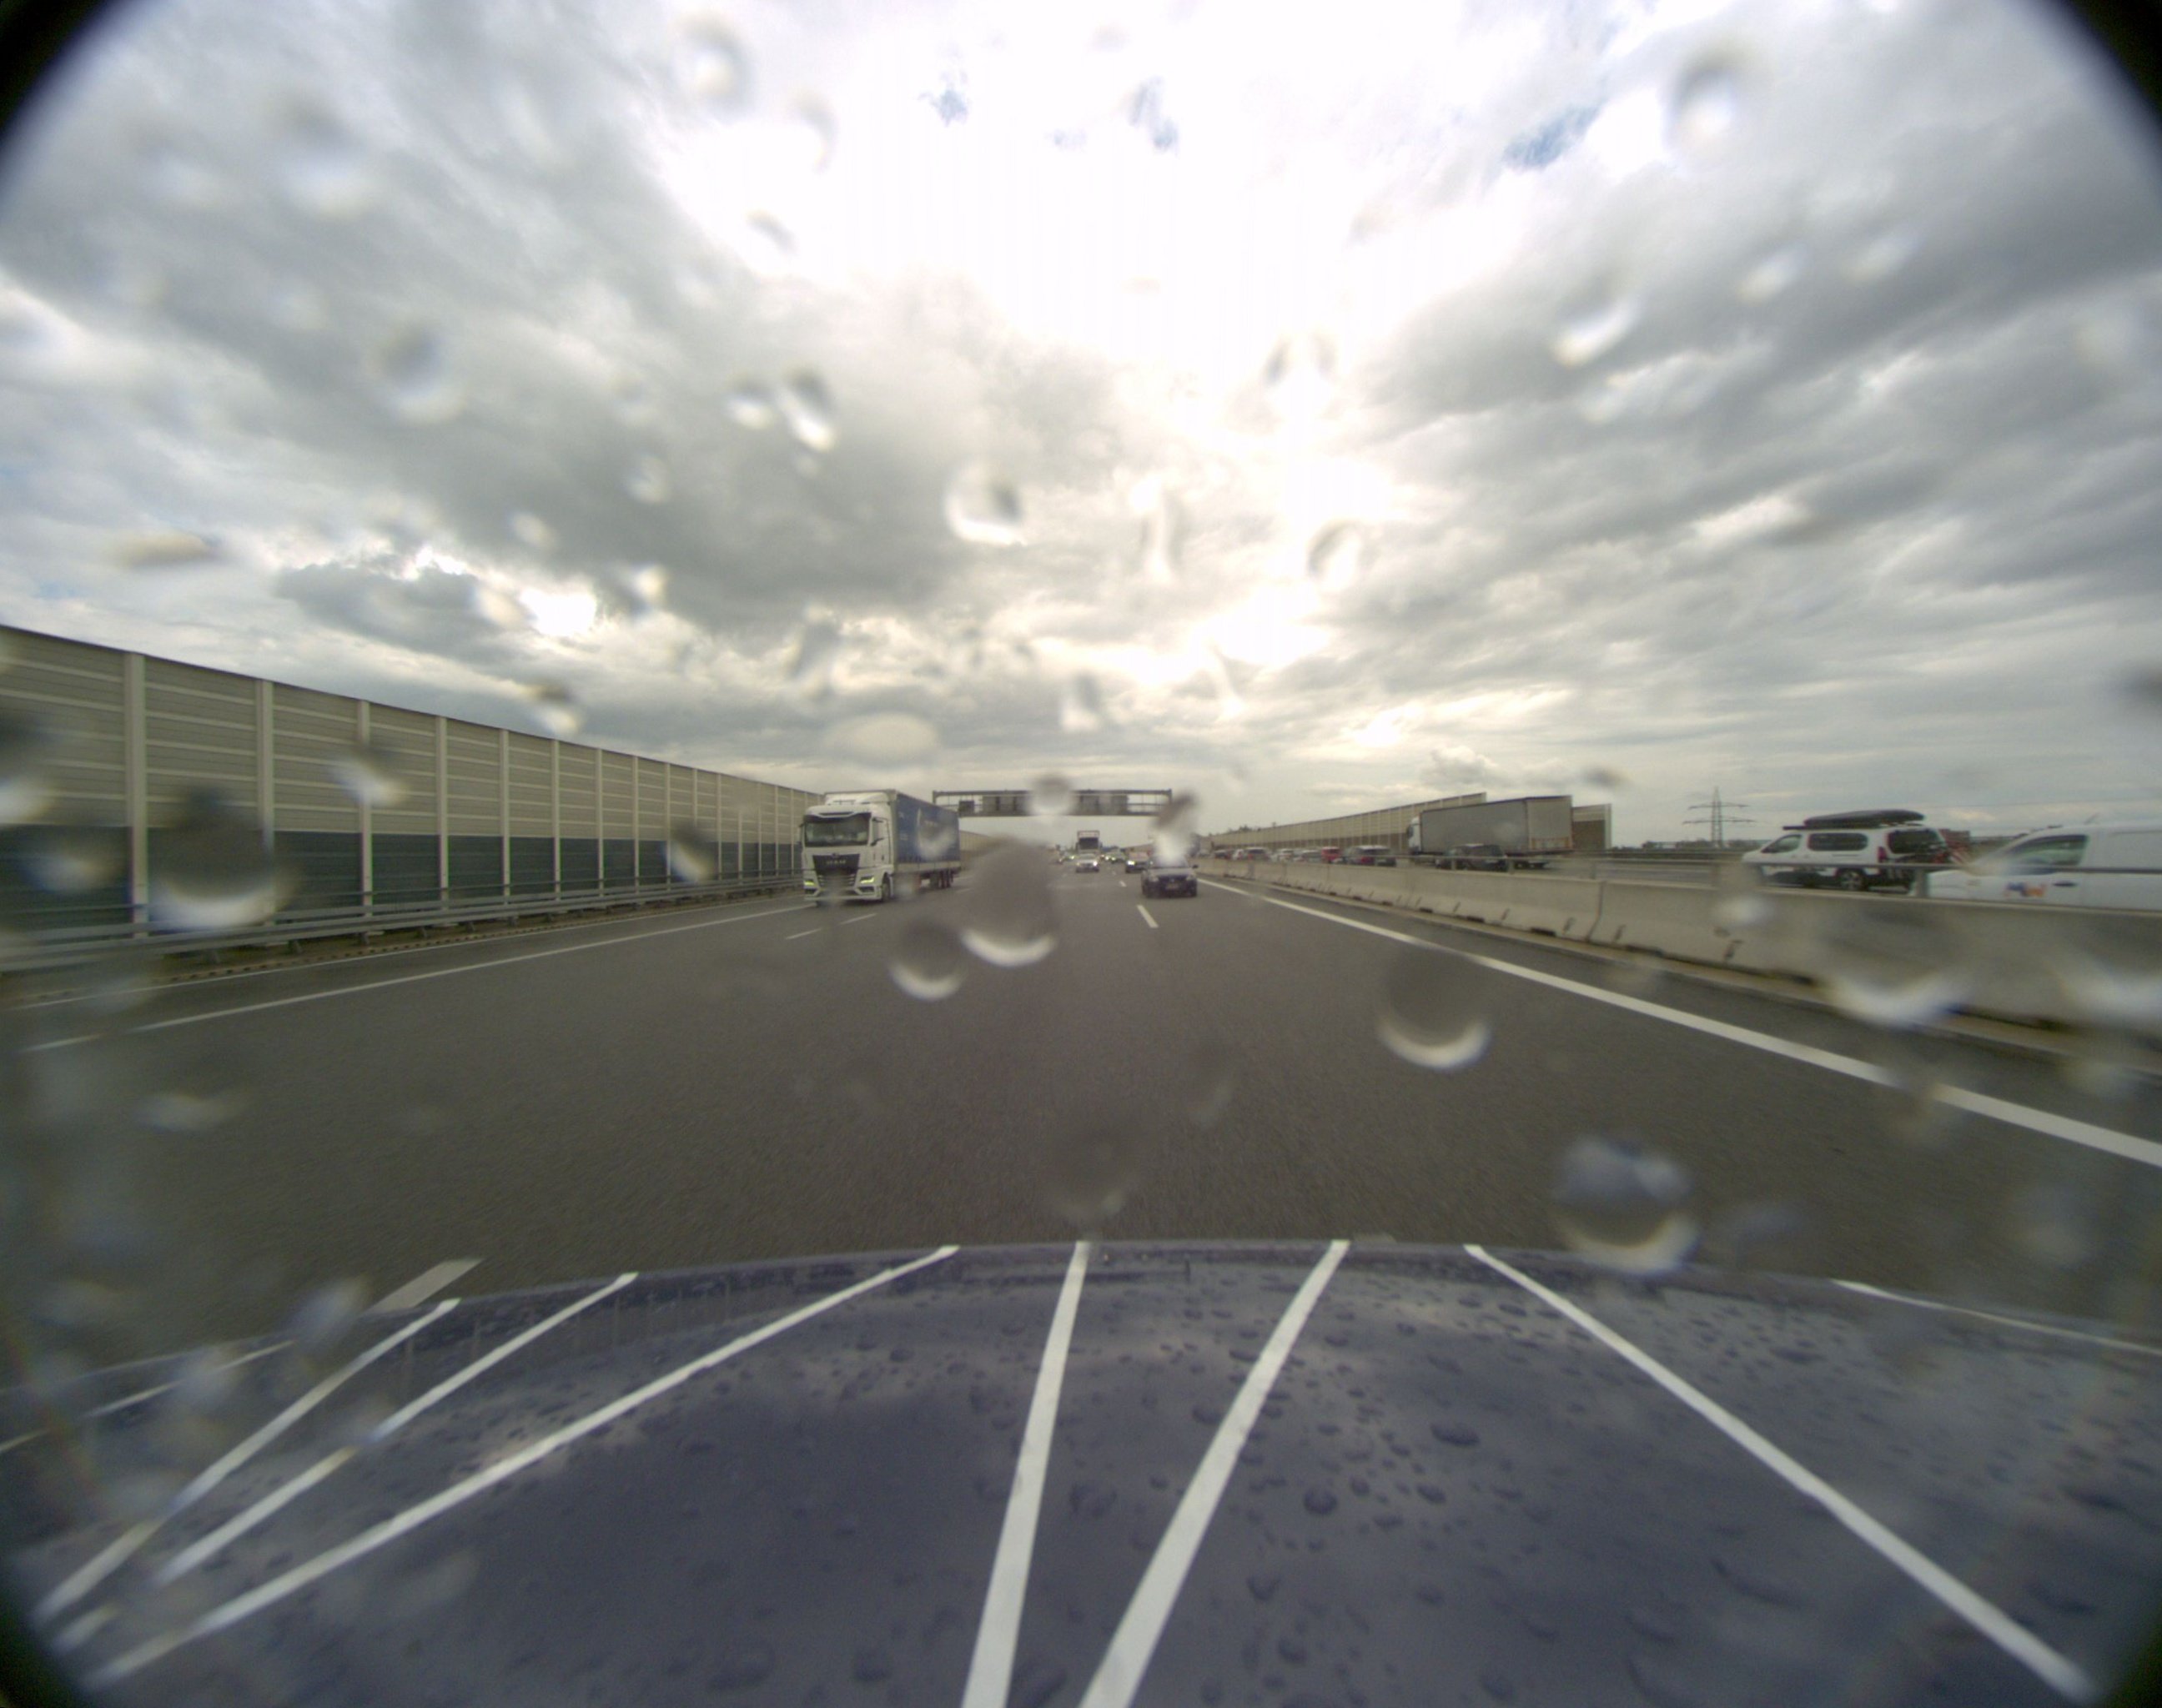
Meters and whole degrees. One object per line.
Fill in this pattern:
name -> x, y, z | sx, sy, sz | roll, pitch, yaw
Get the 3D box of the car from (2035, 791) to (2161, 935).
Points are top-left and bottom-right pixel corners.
car -> 17.684, 0.123, 10.361 | 2.065, 2.223, 5.894 | -2, 1, 2

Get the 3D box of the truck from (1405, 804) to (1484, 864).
truck -> 26.115, -1.397, 54.934 | 2.979, 4.011, 5.726 | -2, 0, 2

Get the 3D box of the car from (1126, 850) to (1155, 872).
car -> 4.145, 0.481, 53.582 | 1.776, 1.451, 4.480 | -2, 0, 1

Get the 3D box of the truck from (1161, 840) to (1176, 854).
truck -> 23.134, -1.728, 200.959 | 2.703, 3.506, 9.995 | -3, 0, 1

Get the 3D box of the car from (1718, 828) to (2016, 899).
car -> 21.291, 0.201, 21.160 | 2.065, 1.636, 6.120 | -2, 1, 2

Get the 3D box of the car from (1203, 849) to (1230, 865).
car -> 14.372, 0.269, 80.841 | 2.065, 1.525, 4.997 | -2, 1, 2

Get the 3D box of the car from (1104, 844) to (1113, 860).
car -> 5.333, -0.342, 146.313 | 1.645, 3.041, 4.589 | -2, 0, 2

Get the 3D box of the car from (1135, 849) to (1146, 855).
car -> 14.182, -0.461, 181.265 | 2.066, 1.482, 4.996 | -2, 1, -1

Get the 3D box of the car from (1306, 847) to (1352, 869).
car -> 18.714, 0.235, 57.517 | 2.065, 1.526, 4.719 | -2, 1, 2

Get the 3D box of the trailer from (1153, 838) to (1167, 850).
trailer -> 26.536, -3.325, 255.918 | 2.768, 4.008, 14.451 | -2, 0, 0

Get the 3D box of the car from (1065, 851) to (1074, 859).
car -> -2.189, 0.122, 144.796 | 1.498, 1.395, 3.999 | -2, 0, 0

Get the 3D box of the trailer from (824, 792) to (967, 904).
trailer -> -7.874, -0.242, 35.047 | 2.768, 4.008, 14.452 | -2, 0, 1

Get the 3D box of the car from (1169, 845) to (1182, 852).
car -> 19.009, -1.099, 152.381 | 2.065, 1.482, 4.997 | -2, 1, 2

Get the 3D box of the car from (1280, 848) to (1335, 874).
car -> 14.578, 0.407, 49.254 | 2.065, 1.526, 5.470 | -2, 1, 2

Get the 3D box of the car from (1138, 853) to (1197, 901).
car -> 2.820, 0.706, 25.375 | 1.578, 1.395, 4.000 | -2, 0, 2

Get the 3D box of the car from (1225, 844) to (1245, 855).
car -> 23.468, -0.696, 115.770 | 2.065, 1.482, 4.997 | -2, 1, 2

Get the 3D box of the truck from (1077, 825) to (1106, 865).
truck -> 1.209, -0.996, 85.448 | 2.913, 4.146, 5.193 | -3, 0, 2

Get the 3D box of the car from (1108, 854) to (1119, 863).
car -> 5.112, 0.681, 119.711 | 1.498, 1.395, 3.999 | -2, 0, 0

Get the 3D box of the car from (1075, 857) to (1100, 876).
car -> 0.556, 0.954, 60.170 | 1.732, 1.395, 4.000 | -2, 0, 3

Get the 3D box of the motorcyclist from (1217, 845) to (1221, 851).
motorcyclist -> 27.304, -1.174, 150.293 | 0.638, 1.217, 0.796 | -3, 1, 1

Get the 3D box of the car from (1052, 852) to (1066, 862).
car -> -3.042, 0.402, 106.197 | 1.698, 1.395, 4.000 | -2, 0, 0

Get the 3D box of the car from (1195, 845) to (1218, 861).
car -> 15.420, -0.188, 93.455 | 2.065, 1.869, 4.997 | -2, 1, 2

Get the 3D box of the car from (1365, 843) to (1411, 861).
car -> 27.621, -0.212, 68.544 | 2.065, 1.526, 5.470 | -2, 1, 2

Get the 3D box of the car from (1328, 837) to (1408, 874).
car -> 14.005, 0.043, 37.456 | 2.065, 1.636, 5.380 | -2, 1, 2

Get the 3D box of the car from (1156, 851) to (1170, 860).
car -> 15.274, 0.299, 141.882 | 2.065, 1.482, 4.997 | -2, 1, 2

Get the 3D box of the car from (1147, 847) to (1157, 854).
car -> 18.809, -0.818, 201.085 | 1.878, 1.689, 5.015 | -2, 0, -1

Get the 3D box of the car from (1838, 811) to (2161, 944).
car -> 13.362, 0.227, 9.695 | 2.065, 1.526, 5.470 | -2, 1, 2

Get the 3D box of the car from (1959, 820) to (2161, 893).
car -> 25.300, 0.008, 18.776 | 2.065, 1.636, 4.519 | -2, 1, 2

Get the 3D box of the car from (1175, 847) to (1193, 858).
car -> 15.487, -0.256, 114.153 | 2.065, 1.482, 4.997 | -2, 1, 2

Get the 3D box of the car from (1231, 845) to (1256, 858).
car -> 19.564, -0.295, 91.515 | 2.065, 1.482, 4.997 | -2, 1, 2

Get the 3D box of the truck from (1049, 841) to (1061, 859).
truck -> -6.357, -1.027, 182.638 | 2.600, 4.088, 11.368 | -2, 0, -2

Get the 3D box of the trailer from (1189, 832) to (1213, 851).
trailer -> 26.743, -2.696, 170.062 | 2.768, 4.008, 14.451 | -2, 0, 0

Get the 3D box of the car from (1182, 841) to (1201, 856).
car -> 19.872, -0.991, 137.011 | 2.389, 2.535, 7.086 | -2, 1, 2

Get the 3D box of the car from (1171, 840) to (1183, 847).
car -> 22.829, -2.555, 181.282 | 2.065, 1.590, 4.996 | -2, 1, 0

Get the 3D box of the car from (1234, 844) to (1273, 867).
car -> 14.864, 0.102, 65.725 | 2.065, 1.869, 6.328 | -2, 1, 2

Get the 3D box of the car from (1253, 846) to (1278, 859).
car -> 23.190, -0.199, 95.611 | 2.065, 1.482, 4.997 | -2, 1, 2

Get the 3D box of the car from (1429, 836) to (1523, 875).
car -> 18.084, 0.035, 35.045 | 2.065, 1.636, 4.519 | -2, 1, 2

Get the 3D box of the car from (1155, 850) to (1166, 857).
car -> 19.516, -0.133, 187.361 | 2.065, 1.590, 4.996 | -2, 1, 0

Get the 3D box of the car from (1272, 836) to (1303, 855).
car -> 22.123, -0.900, 81.441 | 2.065, 1.869, 4.997 | -2, 1, 2

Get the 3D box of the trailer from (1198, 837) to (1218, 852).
trailer -> 34.409, -2.562, 206.443 | 2.943, 4.008, 13.859 | -2, 0, 0

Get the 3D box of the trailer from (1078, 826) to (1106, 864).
trailer -> 1.440, -1.010, 92.682 | 2.925, 4.188, 13.197 | -3, 0, 2

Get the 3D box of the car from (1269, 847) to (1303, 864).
car -> 18.910, 0.115, 70.300 | 2.065, 1.408, 4.523 | -2, 1, 2

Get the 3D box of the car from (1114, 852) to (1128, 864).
car -> 5.124, 0.524, 97.747 | 1.498, 1.395, 4.000 | -2, 0, 1

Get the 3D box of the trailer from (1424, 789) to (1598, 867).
trailer -> 25.905, -1.413, 47.246 | 2.939, 4.008, 14.453 | -2, 0, 2

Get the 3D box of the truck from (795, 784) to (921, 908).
truck -> -7.940, -0.273, 27.864 | 2.751, 4.011, 5.725 | -2, 0, 1
